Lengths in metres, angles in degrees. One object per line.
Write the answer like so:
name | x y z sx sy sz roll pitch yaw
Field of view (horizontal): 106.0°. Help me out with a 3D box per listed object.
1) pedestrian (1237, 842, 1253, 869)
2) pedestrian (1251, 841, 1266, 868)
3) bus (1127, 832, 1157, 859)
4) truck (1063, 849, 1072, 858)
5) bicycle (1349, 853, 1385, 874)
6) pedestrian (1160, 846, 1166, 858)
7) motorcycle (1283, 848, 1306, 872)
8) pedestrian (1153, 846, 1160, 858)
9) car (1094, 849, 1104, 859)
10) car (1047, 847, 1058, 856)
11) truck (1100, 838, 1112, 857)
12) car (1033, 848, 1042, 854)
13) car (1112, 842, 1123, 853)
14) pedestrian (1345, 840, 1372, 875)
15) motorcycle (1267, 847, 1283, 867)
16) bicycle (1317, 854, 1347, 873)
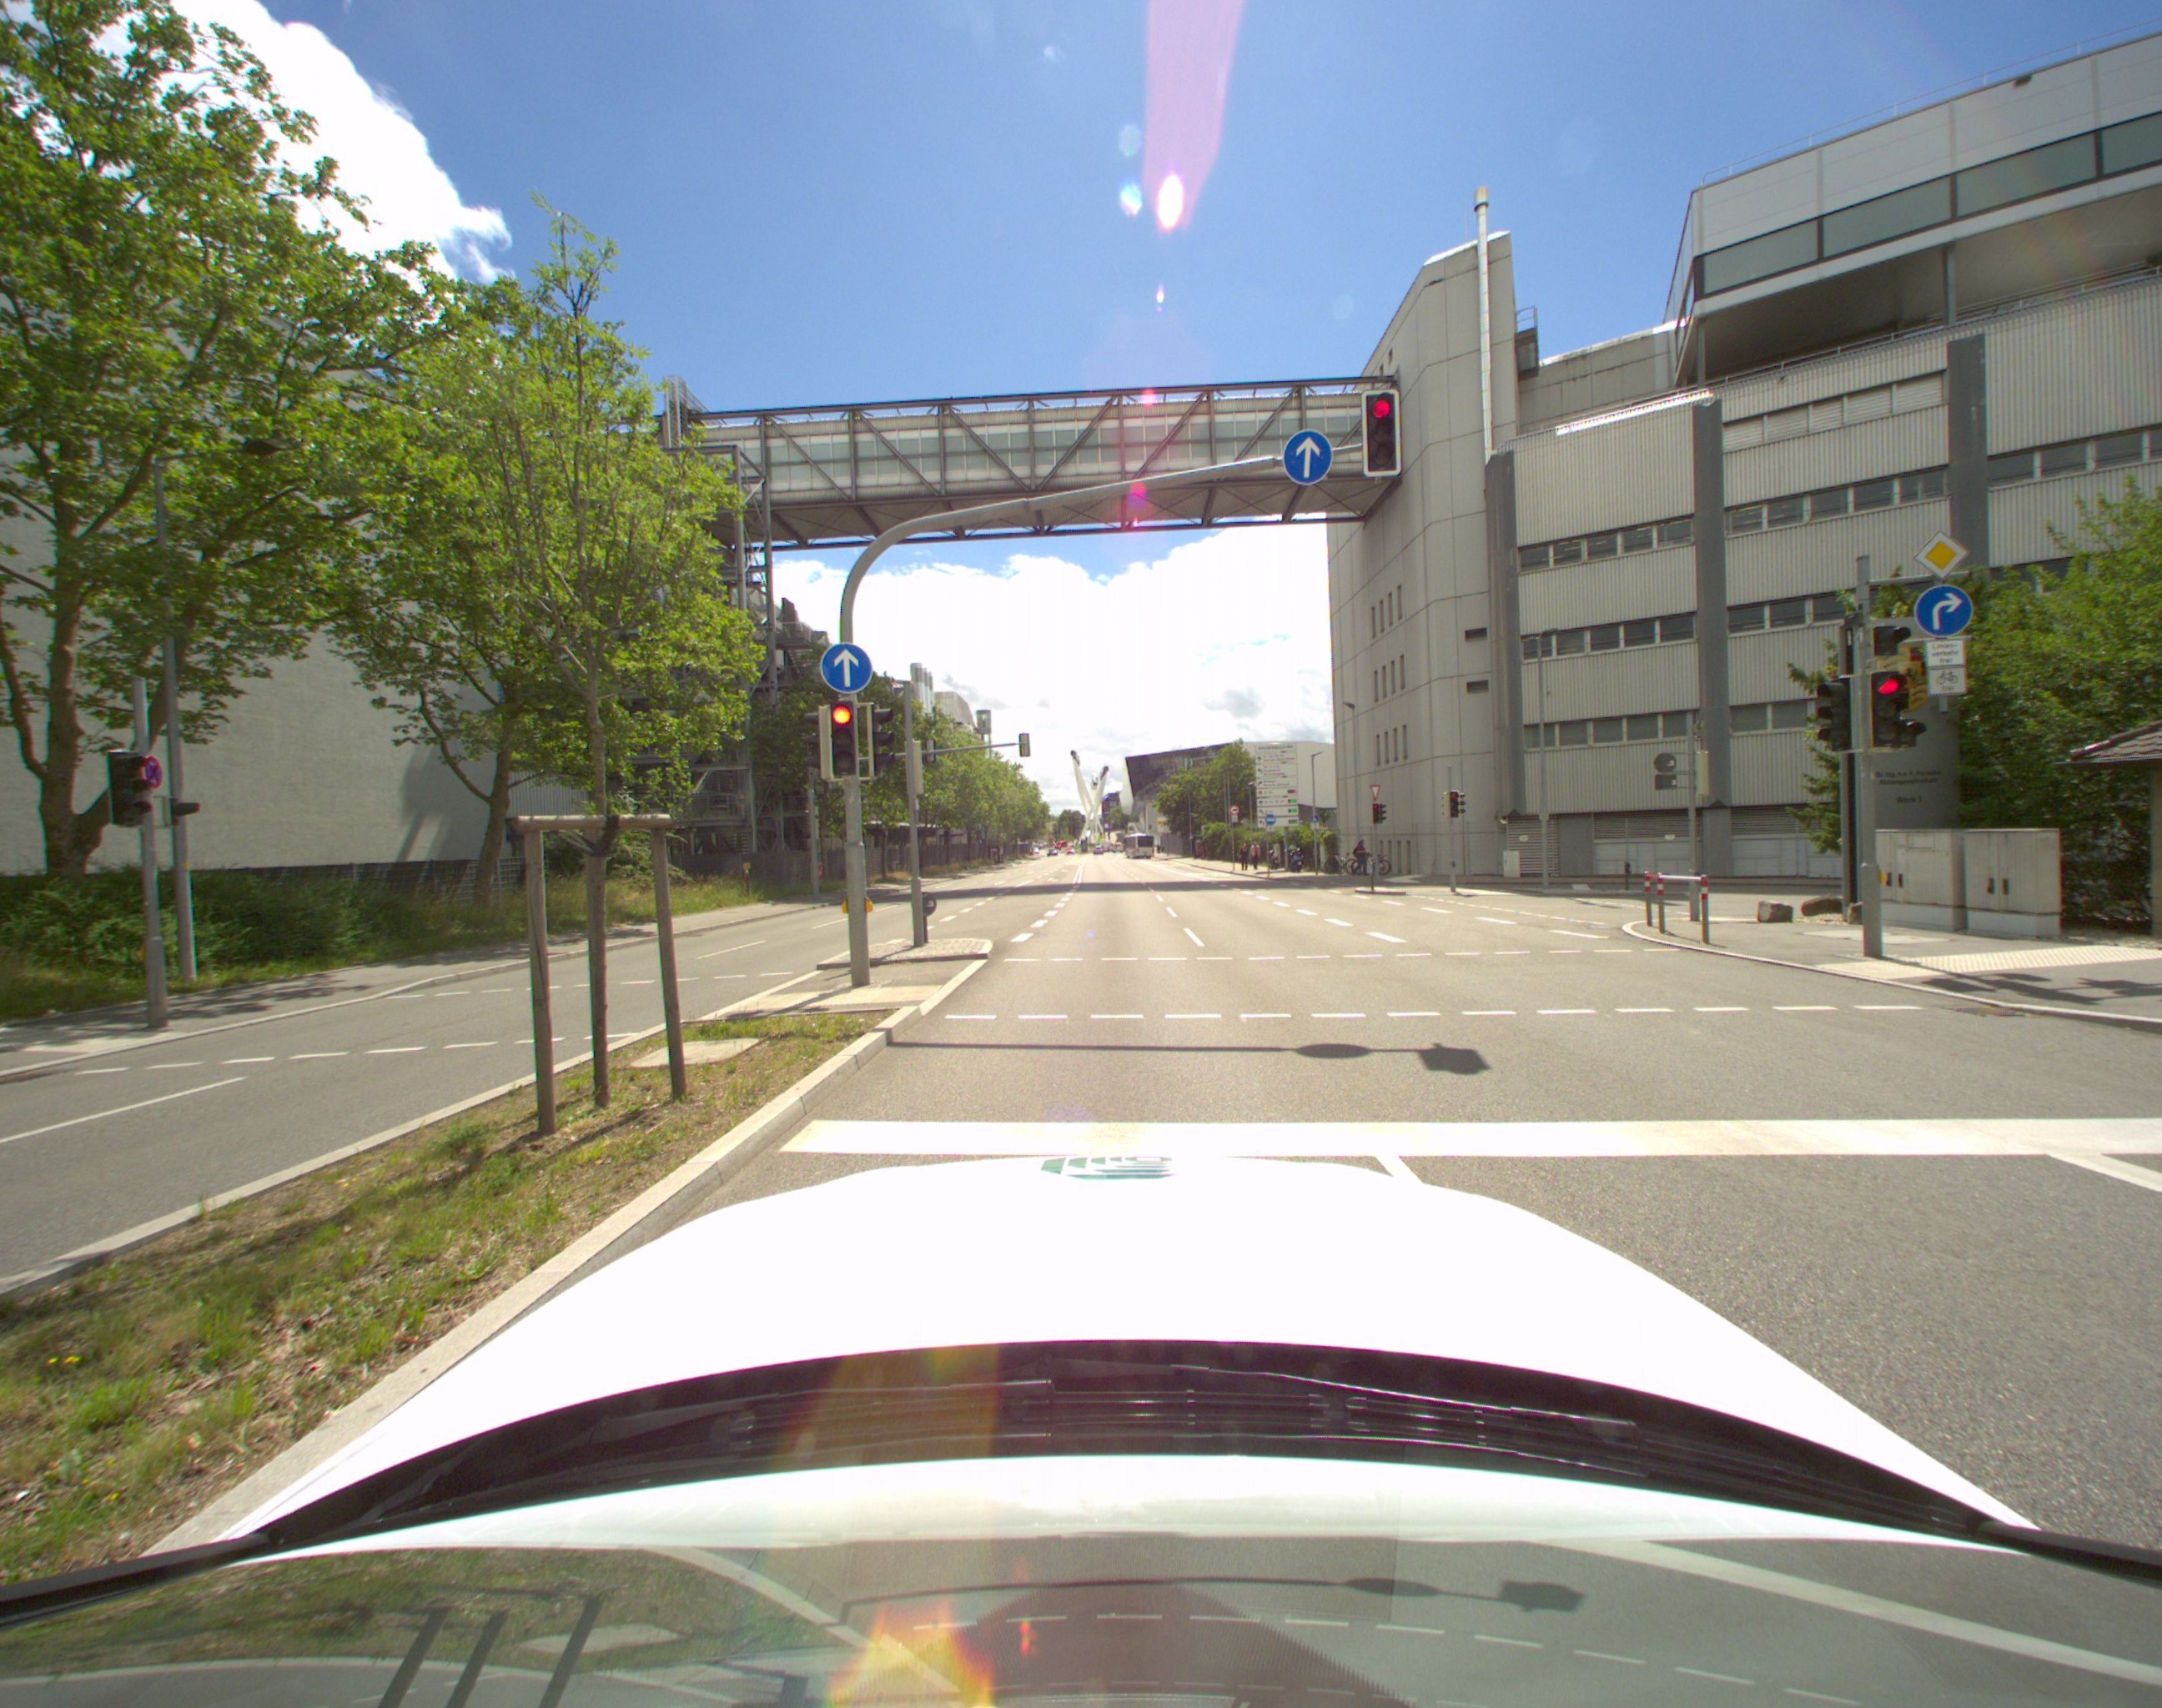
pedestrian | 10.557 0.112 52.438 0.817 1.707 0.881 -1 0 1
pedestrian | 11.381 0.039 52.282 0.817 1.741 0.637 -1 0 1
bus | 8.405 -1.103 113.260 3.441 3.543 10.606 -1 0 0
truck | -2.535 -0.117 156.678 1.580 1.537 3.673 -1 0 -4
bicycle | 13.491 0.454 38.497 0.399 0.937 1.913 -1 0 -24
pedestrian | 14.002 -0.351 139.103 1.026 2.014 0.884 0 -1 -2
motorcycle | 11.716 0.326 44.754 0.703 1.203 2.025 -3 1 2
pedestrian | 12.862 -0.348 138.807 1.026 2.014 0.884 0 -1 -2
car | 3.358 -0.072 148.797 1.732 1.741 3.693 -1 0 2
car | -5.497 -0.480 158.158 1.813 1.537 3.678 -3 0 0
truck | 5.316 -1.371 172.255 2.383 3.897 6.180 -1 0 2
car | -10.720 -0.720 201.216 1.813 1.537 3.678 -3 0 0
car | 7.422 -1.263 165.669 1.984 2.014 4.006 -1 -1 6
pedestrian | 13.016 0.163 38.241 0.839 1.624 0.962 -1 0 43
motorcycle | 12.538 0.199 52.600 0.572 1.203 2.025 -3 1 2
bicycle | 12.548 0.454 40.808 0.398 0.937 1.917 -1 0 -17
